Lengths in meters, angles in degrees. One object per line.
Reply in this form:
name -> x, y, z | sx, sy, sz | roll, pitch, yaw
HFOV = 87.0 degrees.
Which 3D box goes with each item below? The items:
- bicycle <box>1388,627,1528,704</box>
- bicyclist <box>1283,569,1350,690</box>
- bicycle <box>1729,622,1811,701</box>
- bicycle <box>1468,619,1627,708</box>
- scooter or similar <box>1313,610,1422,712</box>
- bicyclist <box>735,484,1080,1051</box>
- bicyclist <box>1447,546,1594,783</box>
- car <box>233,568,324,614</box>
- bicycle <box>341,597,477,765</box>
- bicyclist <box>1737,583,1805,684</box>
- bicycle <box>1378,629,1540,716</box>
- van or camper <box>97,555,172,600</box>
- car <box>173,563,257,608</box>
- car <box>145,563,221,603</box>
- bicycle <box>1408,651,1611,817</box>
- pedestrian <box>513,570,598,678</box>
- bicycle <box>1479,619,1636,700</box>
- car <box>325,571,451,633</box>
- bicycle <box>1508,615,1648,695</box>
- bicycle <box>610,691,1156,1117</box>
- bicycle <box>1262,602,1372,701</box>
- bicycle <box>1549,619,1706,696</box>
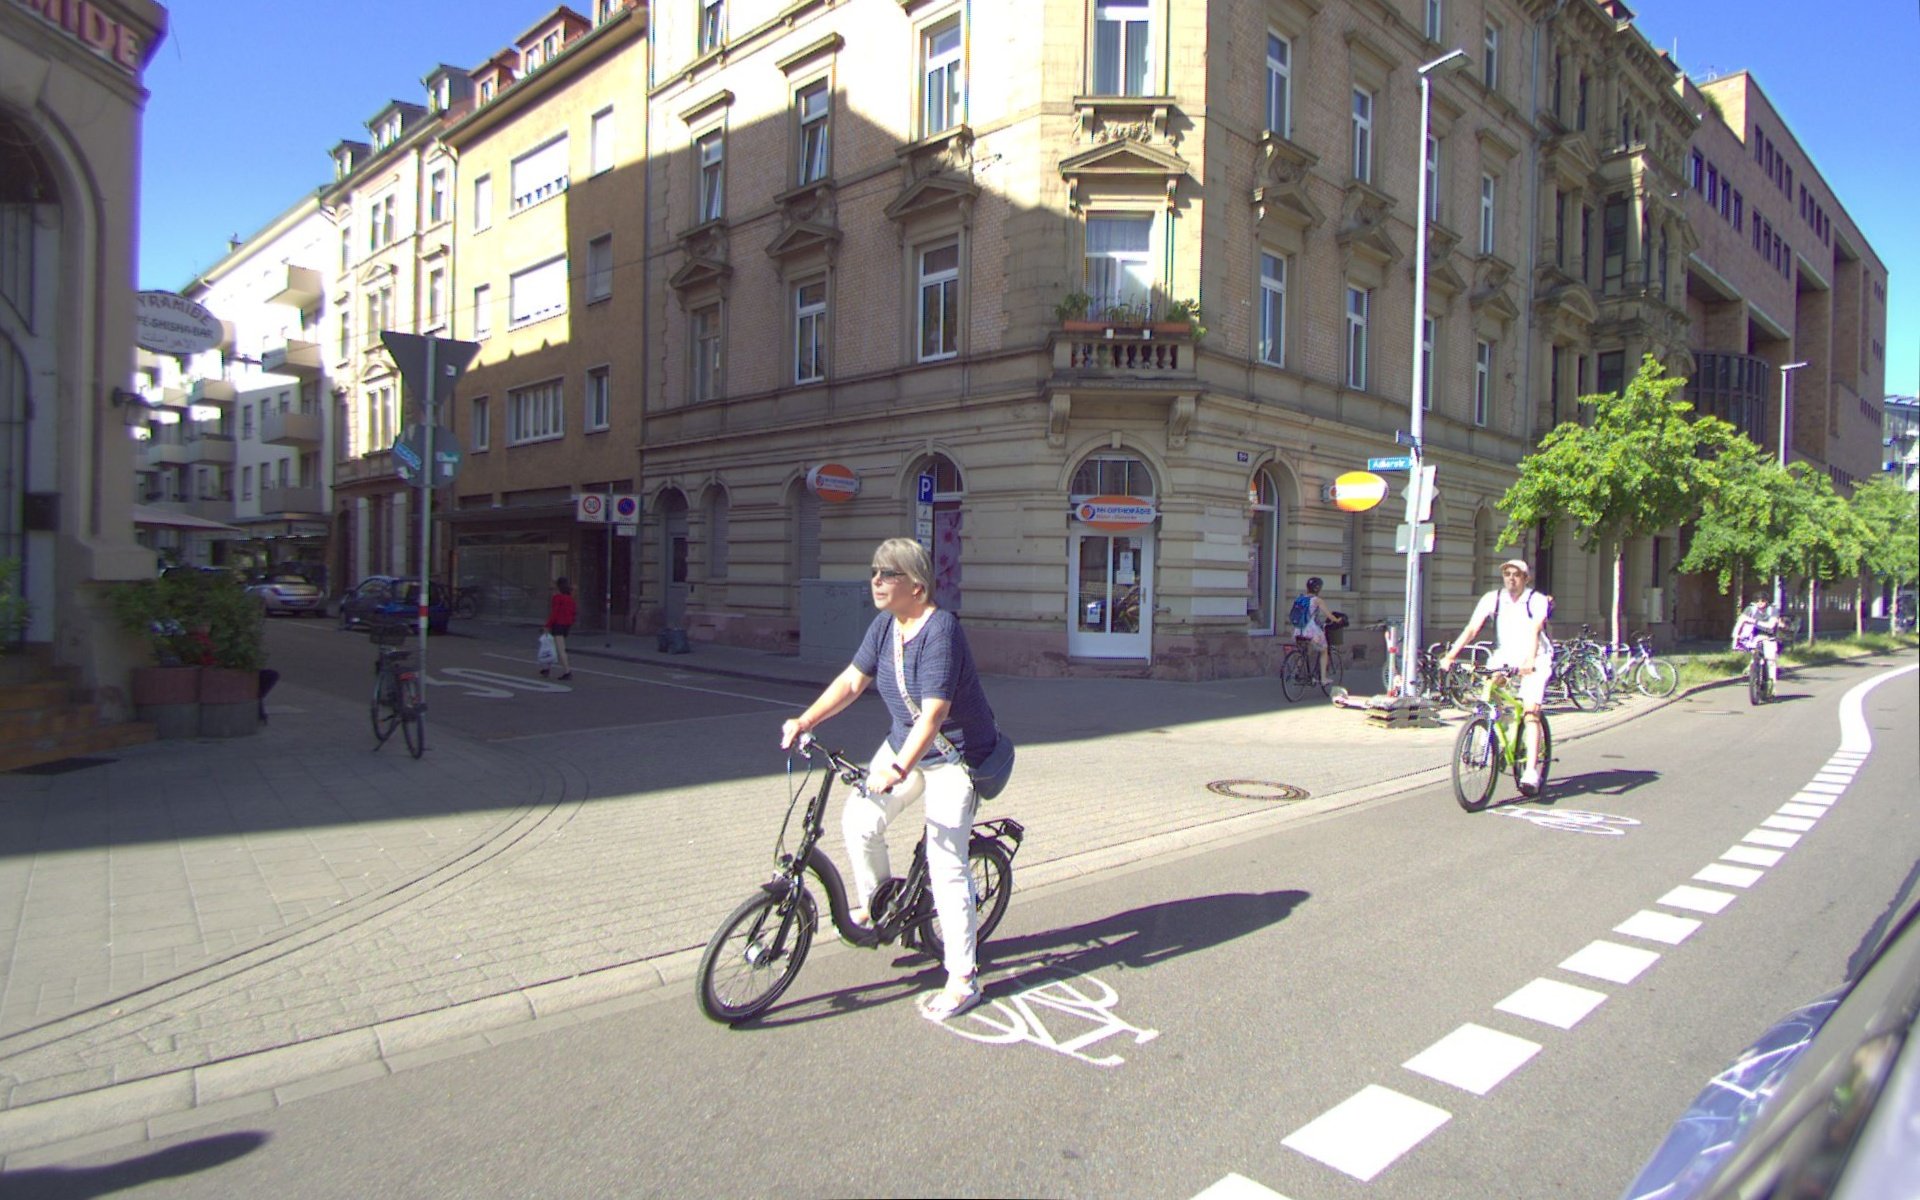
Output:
bicycle -> 6.986, 0.894, 14.263 | 0.488, 0.937, 1.716 | 0, 1, -40
bicyclist -> 5.012, 0.392, 14.214 | 0.781, 1.637, 0.578 | 0, 1, -43
bicycle -> 13.428, 0.981, 16.762 | 1.918, 1.209, 0.724 | 0, -1, -41
bicycle -> 8.560, 0.894, 14.808 | 0.598, 1.061, 1.873 | 0, 4, -45
scooter or similar -> 5.242, 0.754, 13.058 | 0.479, 1.213, 1.197 | 1, 1, -45
bicyclist -> -0.195, 0.516, 3.775 | 0.971, 1.749, 0.853 | 1, -1, -41
bicyclist -> 4.293, 0.454, 7.745 | 0.960, 1.678, 0.699 | 1, -1, -41
car -> -21.126, -0.293, 31.329 | 3.376, 1.338, 1.604 | 1, 1, 42
bicycle -> -4.976, 0.656, 9.047 | 0.801, 1.247, 2.221 | 4, -1, -34
bicyclist -> 13.484, 0.539, 16.820 | 0.879, 1.625, 0.724 | 1, -1, -41
bicycle -> 6.683, 0.941, 13.659 | 0.580, 0.922, 1.910 | 0, 3, -32
van or camper -> -37.834, -1.054, 46.335 | 4.527, 1.867, 1.857 | 3, 0, 41
car -> -26.256, -0.521, 35.627 | 3.425, 1.424, 1.605 | 3, 0, 41
car -> -30.014, -0.662, 39.070 | 3.425, 1.424, 1.605 | 3, 0, 41
bicycle -> 4.191, 0.939, 7.659 | 1.918, 1.019, 0.724 | 0, 0, -41
pedestrian -> -6.196, 0.349, 15.546 | 0.824, 1.594, 0.901 | 0, 0, 22
bicycle -> 9.452, 0.901, 16.054 | 1.013, 1.043, 1.901 | 0, 4, -43
car -> -14.664, 0.017, 25.865 | 3.686, 1.428, 1.594 | 2, 1, 39
bicycle -> 10.266, 0.875, 16.835 | 1.115, 1.074, 1.677 | 0, 5, -42
bicycle -> -0.202, 0.931, 3.767 | 1.918, 1.019, 0.829 | 0, 0, -41
bicycle -> 5.058, 0.677, 14.274 | 2.062, 1.268, 0.578 | -1, 2, -43
bicycle -> 11.504, 0.958, 17.505 | 0.833, 1.054, 2.062 | 0, 4, -41
